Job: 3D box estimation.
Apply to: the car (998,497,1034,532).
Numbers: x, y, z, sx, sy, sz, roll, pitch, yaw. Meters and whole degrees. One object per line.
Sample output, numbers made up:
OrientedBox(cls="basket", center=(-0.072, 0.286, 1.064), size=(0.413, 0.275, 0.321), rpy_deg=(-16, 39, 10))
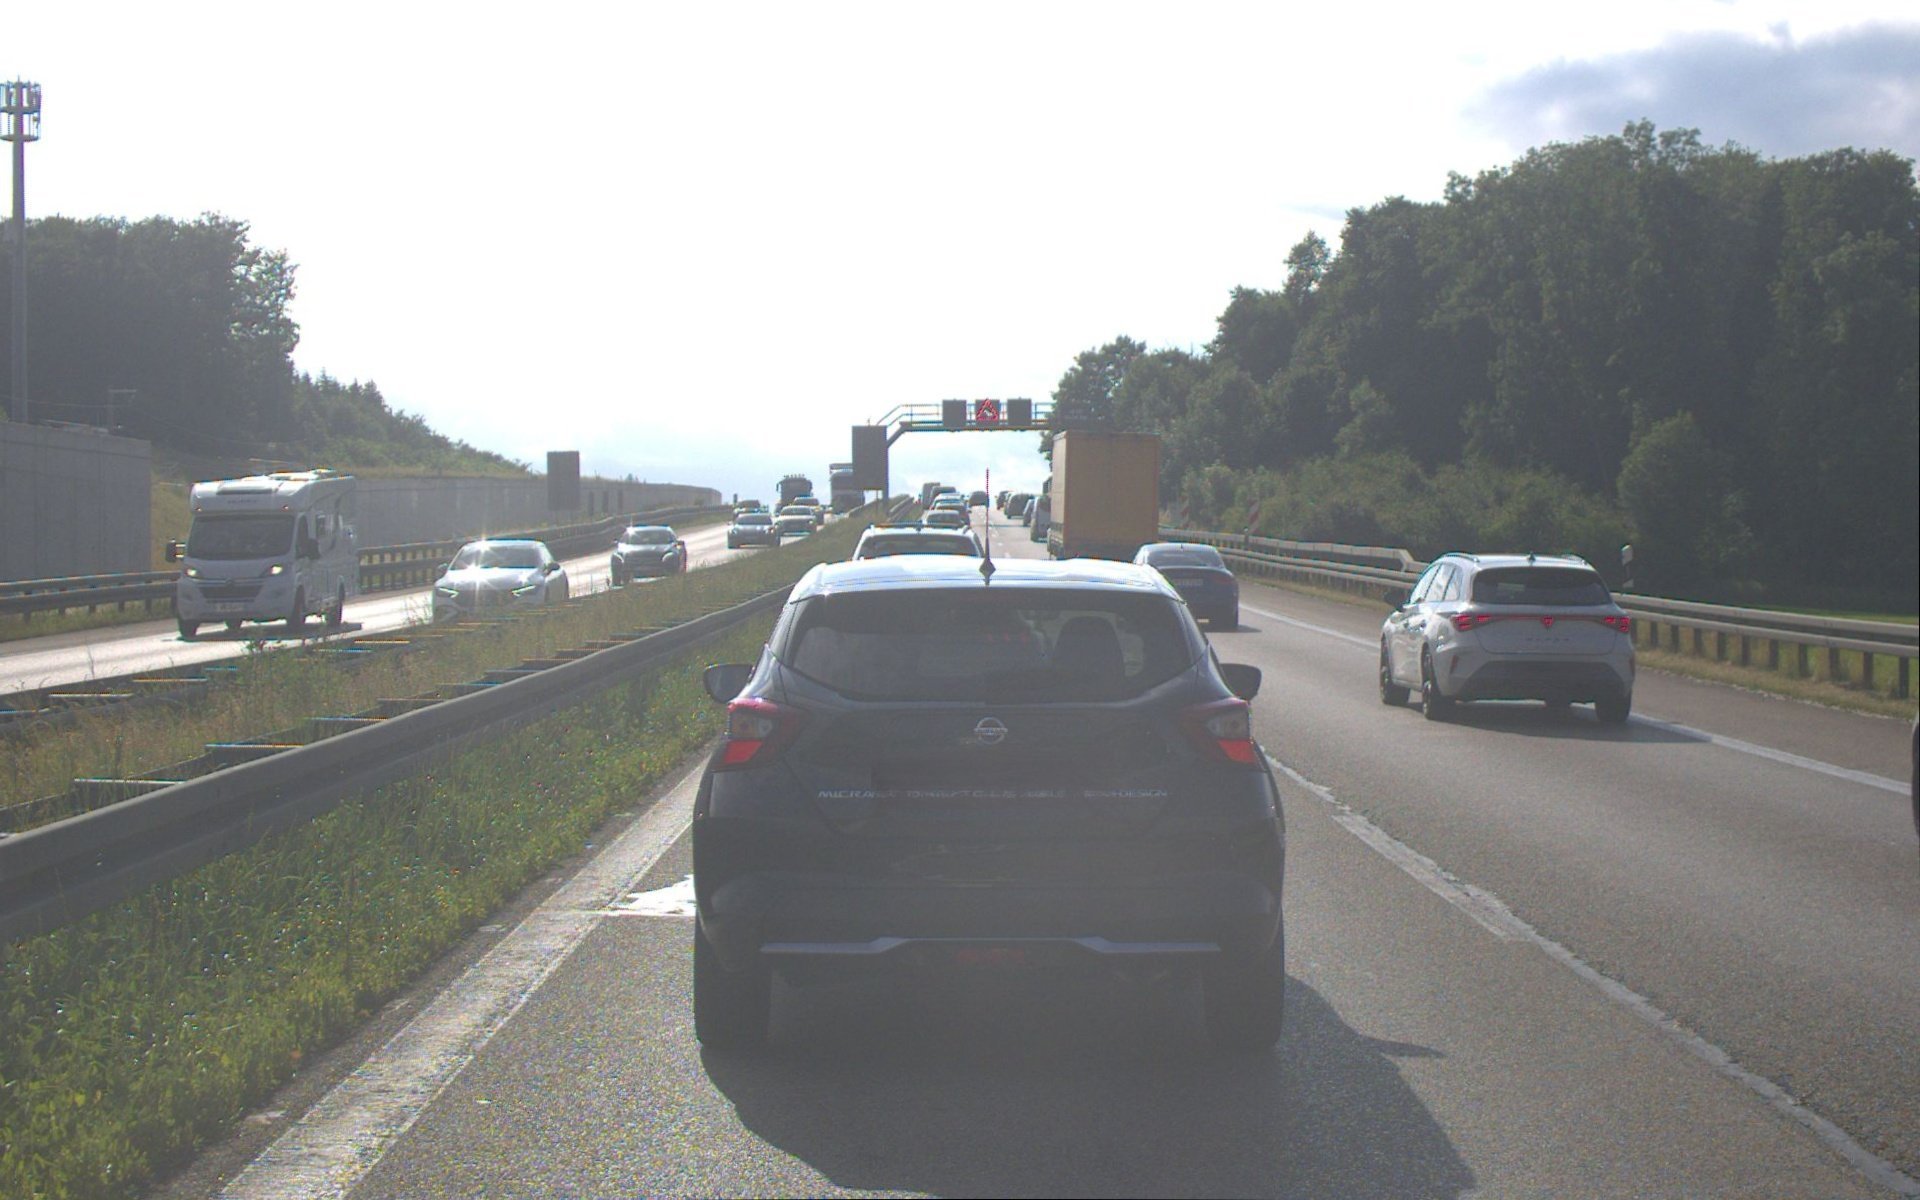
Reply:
OrientedBox(cls="car", center=(3.345, -5.128, 205.865), size=(1.993, 2.007, 4.000), rpy_deg=(1, 0, -1))

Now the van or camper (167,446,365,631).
OrientedBox(cls="van or camper", center=(-12.203, -1.059, 60.923), size=(2.225, 3.068, 6.513), rpy_deg=(1, 0, -1))

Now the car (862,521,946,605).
OrientedBox(cls="car", center=(-1.372, -0.902, 85.078), size=(1.993, 2.007, 4.000), rpy_deg=(1, 0, -1))

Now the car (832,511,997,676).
OrientedBox(cls="car", center=(-0.460, -0.078, 37.864), size=(1.674, 1.720, 3.596), rpy_deg=(1, 0, 1))

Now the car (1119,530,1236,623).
OrientedBox(cls="car", center=(3.575, -0.382, 57.100), size=(1.747, 1.470, 4.147), rpy_deg=(1, 0, 1))

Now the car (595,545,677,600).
OrientedBox(cls="car", center=(-8.803, -0.748, 93.698), size=(1.853, 1.428, 4.449), rpy_deg=(1, 0, -1))

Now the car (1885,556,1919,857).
OrientedBox(cls="car", center=(5.585, 0.566, 16.020), size=(1.549, 1.490, 3.378), rpy_deg=(1, 1, -1))

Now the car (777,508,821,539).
OrientedBox(cls="car", center=(-7.984, -3.766, 170.427), size=(1.993, 1.428, 4.449), rpy_deg=(1, 0, -1))

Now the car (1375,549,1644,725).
OrientedBox(cls="car", center=(4.793, 0.295, 30.491), size=(1.620, 1.441, 4.147), rpy_deg=(1, 0, -1))

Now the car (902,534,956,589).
OrientedBox(cls="car", center=(-1.170, -1.446, 129.655), size=(1.993, 2.007, 4.000), rpy_deg=(1, 0, -1))

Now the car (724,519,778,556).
OrientedBox(cls="car", center=(-8.581, -2.573, 141.409), size=(1.993, 1.428, 4.449), rpy_deg=(1, 0, -1))

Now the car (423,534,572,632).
OrientedBox(cls="car", center=(-7.883, -0.303, 58.950), size=(1.993, 1.587, 4.449), rpy_deg=(1, 0, -1))

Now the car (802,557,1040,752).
OrientedBox(cls="car", center=(-0.245, 0.380, 26.269), size=(1.674, 1.362, 3.596), rpy_deg=(1, 0, 1))

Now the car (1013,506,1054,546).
OrientedBox(cls="car", center=(3.892, -3.923, 182.517), size=(1.993, 2.007, 4.000), rpy_deg=(1, 0, -1))

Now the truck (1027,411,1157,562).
OrientedBox(cls="truck", center=(3.961, -3.391, 104.924), size=(3.582, 4.365, 6.689), rpy_deg=(1, 0, -1))

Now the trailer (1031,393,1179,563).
OrientedBox(cls="trailer", center=(4.003, -3.335, 98.273), size=(3.548, 4.442, 12.722), rpy_deg=(1, 0, 0))

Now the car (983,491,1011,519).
OrientedBox(cls="car", center=(2.725, -6.994, 253.394), size=(1.993, 2.007, 4.000), rpy_deg=(1, 0, -1))

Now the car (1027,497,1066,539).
OrientedBox(cls="car", center=(3.752, -3.553, 148.782), size=(1.667, 1.749, 3.327), rpy_deg=(1, 0, 2))

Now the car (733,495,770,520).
OrientedBox(cls="car", center=(-12.800, -5.652, 211.079), size=(1.993, 1.428, 4.449), rpy_deg=(1, 0, -1))

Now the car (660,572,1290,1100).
OrientedBox(cls="car", center=(0.086, 0.636, 11.111), size=(1.710, 1.421, 3.378), rpy_deg=(1, 0, 2))

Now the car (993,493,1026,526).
OrientedBox(cls="car", center=(3.178, -5.863, 222.674), size=(1.993, 2.007, 4.000), rpy_deg=(1, 0, -1))
